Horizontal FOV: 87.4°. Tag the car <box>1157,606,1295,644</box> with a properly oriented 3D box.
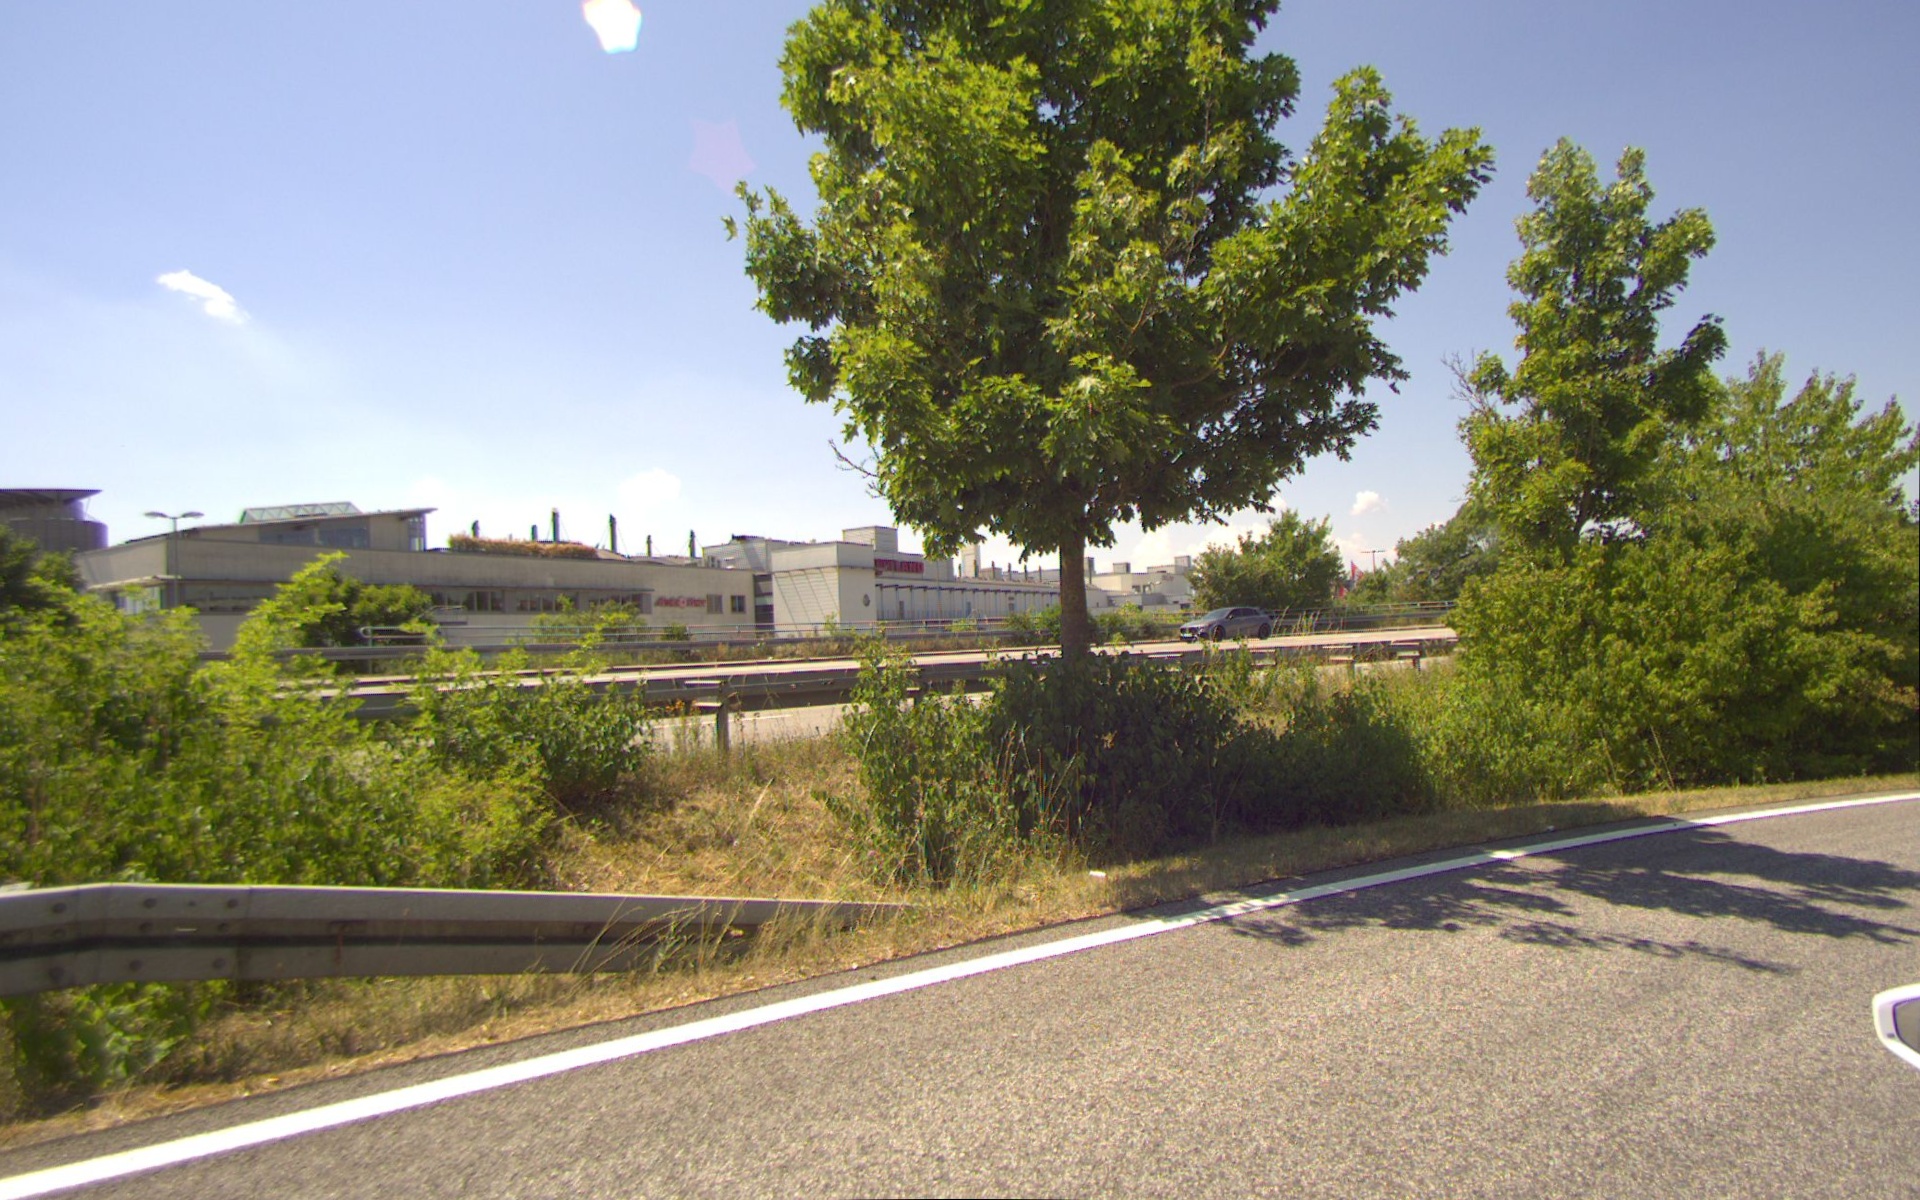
[{"bbox_3d":[11.273,1.060,42.396,5.766,1.461,2.142,2,-1,-29],"label":"car"}]
